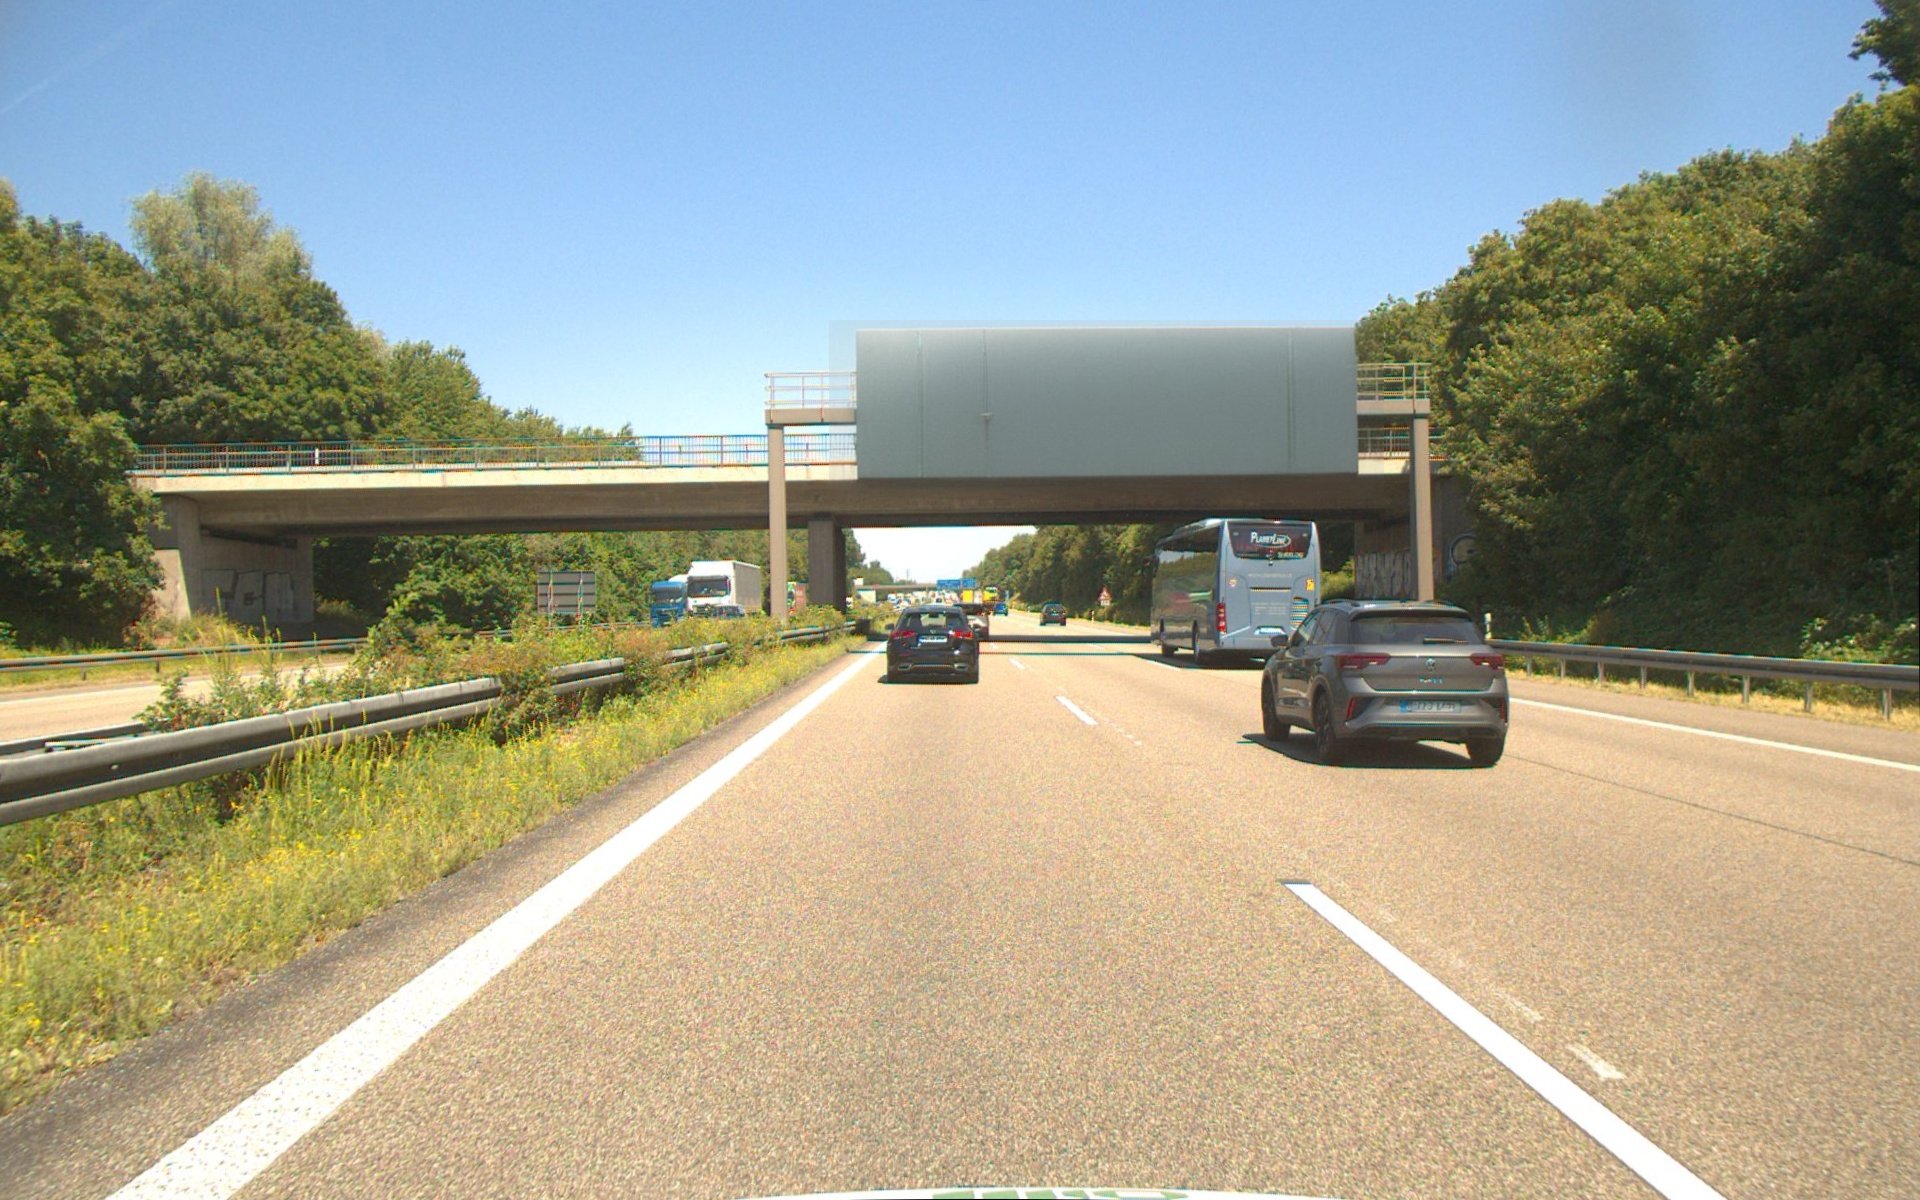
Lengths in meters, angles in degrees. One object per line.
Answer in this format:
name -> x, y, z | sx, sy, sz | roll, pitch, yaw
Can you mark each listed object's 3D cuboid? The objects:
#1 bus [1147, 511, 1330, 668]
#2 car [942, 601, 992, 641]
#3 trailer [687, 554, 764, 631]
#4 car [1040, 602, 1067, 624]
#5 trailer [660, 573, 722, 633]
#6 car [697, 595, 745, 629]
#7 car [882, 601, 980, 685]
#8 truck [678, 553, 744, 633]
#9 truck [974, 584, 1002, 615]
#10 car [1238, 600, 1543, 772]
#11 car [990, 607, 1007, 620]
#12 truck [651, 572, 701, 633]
bus -> 7.203, -0.233, 44.752 | 2.745, 3.659, 12.472 | 0, 0, -1
car -> 0.238, 0.808, 65.952 | 1.861, 1.559, 4.240 | 0, 0, -2
trailer -> -14.299, -0.431, 101.970 | 2.771, 4.298, 13.833 | -2, 0, -1
car -> 6.570, 0.900, 116.496 | 1.753, 1.487, 3.949 | 0, 0, 0
trailer -> -18.587, 0.175, 115.045 | 2.311, 3.860, 12.072 | -2, 0, -1
car -> -11.475, 0.568, 79.618 | 1.861, 1.580, 4.239 | -1, 0, -3
car -> -0.586, 0.783, 32.206 | 1.763, 1.528, 4.240 | 0, 0, -2
truck -> -14.212, -0.395, 94.865 | 2.771, 4.285, 5.888 | -2, 0, -1
truck -> 4.220, -0.041, 252.609 | 3.573, 4.670, 15.760 | 1, 0, -2
car -> 4.319, 0.786, 17.433 | 1.861, 1.559, 4.758 | 0, 0, -2
car -> 4.674, 1.604, 202.692 | 2.038, 1.559, 4.241 | 0, 0, 0
truck -> -18.511, 0.157, 108.007 | 2.312, 3.841, 5.251 | -2, 0, -1
